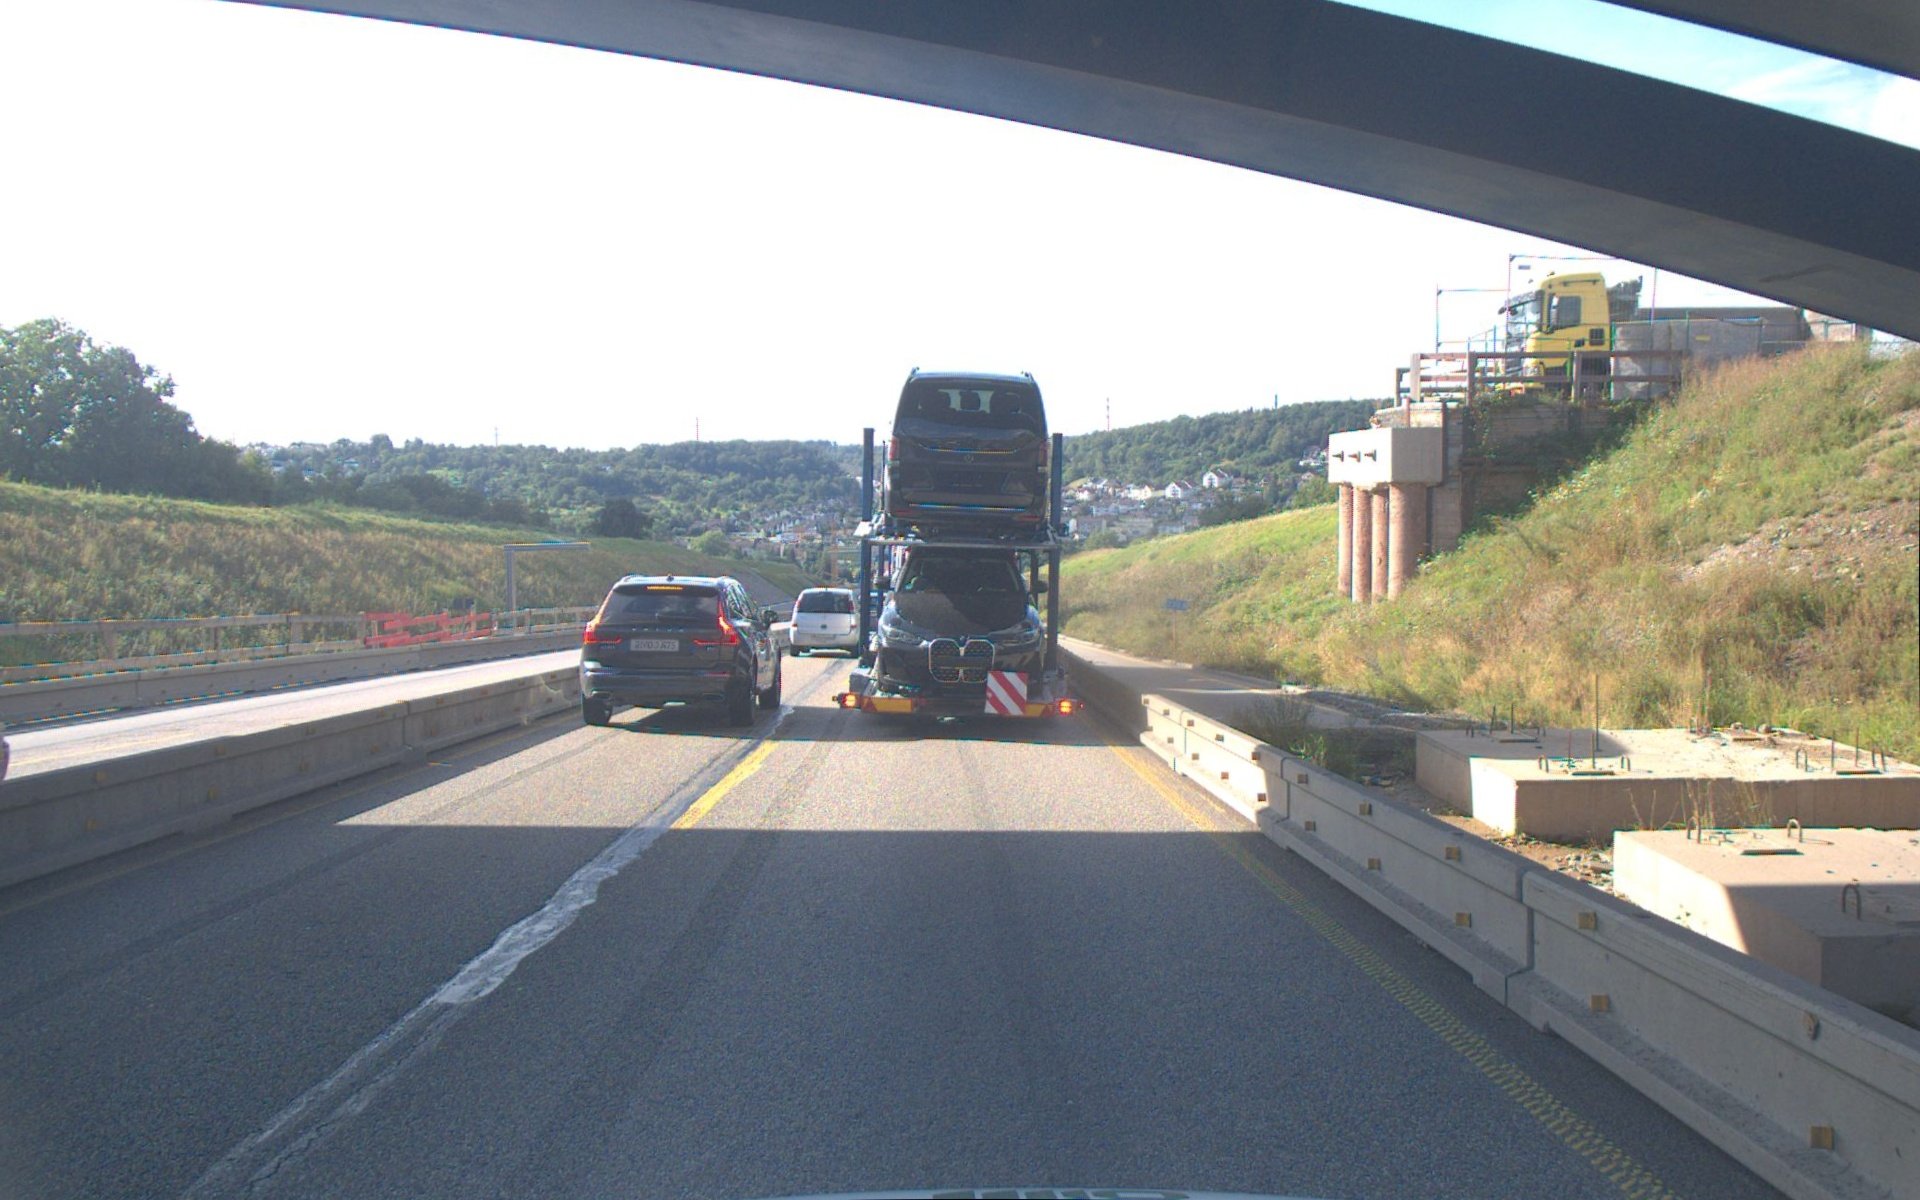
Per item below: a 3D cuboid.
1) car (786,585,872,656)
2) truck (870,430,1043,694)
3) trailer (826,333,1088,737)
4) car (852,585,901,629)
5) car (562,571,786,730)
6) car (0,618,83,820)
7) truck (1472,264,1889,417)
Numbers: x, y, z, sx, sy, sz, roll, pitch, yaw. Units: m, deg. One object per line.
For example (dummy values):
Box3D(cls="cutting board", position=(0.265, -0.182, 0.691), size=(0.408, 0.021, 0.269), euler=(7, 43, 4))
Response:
Box3D(cls="car", position=(-3.127, 0.456, 40.199), size=(1.759, 1.624, 4.742), euler=(0, 0, -1))
Box3D(cls="truck", position=(-0.025, -0.587, 28.112), size=(2.623, 3.990, 6.027), euler=(0, 0, 0))
Box3D(cls="trailer", position=(-0.004, -0.673, 22.504), size=(2.652, 4.099, 11.419), euler=(0, 0, 0))
Box3D(cls="car", position=(-3.054, 0.236, 61.148), size=(1.760, 1.557, 4.293), euler=(0, 0, -2))
Box3D(cls="car", position=(-3.238, 0.512, 19.688), size=(1.953, 1.653, 4.748), euler=(1, 0, -2))
Box3D(cls="car", position=(-6.494, 0.766, 8.605), size=(1.635, 1.175, 4.217), euler=(-3, 1, -1))
Box3D(cls="truck", position=(17.653, -6.343, 40.904), size=(9.076, 3.284, 2.959), euler=(0, 0, -2))
